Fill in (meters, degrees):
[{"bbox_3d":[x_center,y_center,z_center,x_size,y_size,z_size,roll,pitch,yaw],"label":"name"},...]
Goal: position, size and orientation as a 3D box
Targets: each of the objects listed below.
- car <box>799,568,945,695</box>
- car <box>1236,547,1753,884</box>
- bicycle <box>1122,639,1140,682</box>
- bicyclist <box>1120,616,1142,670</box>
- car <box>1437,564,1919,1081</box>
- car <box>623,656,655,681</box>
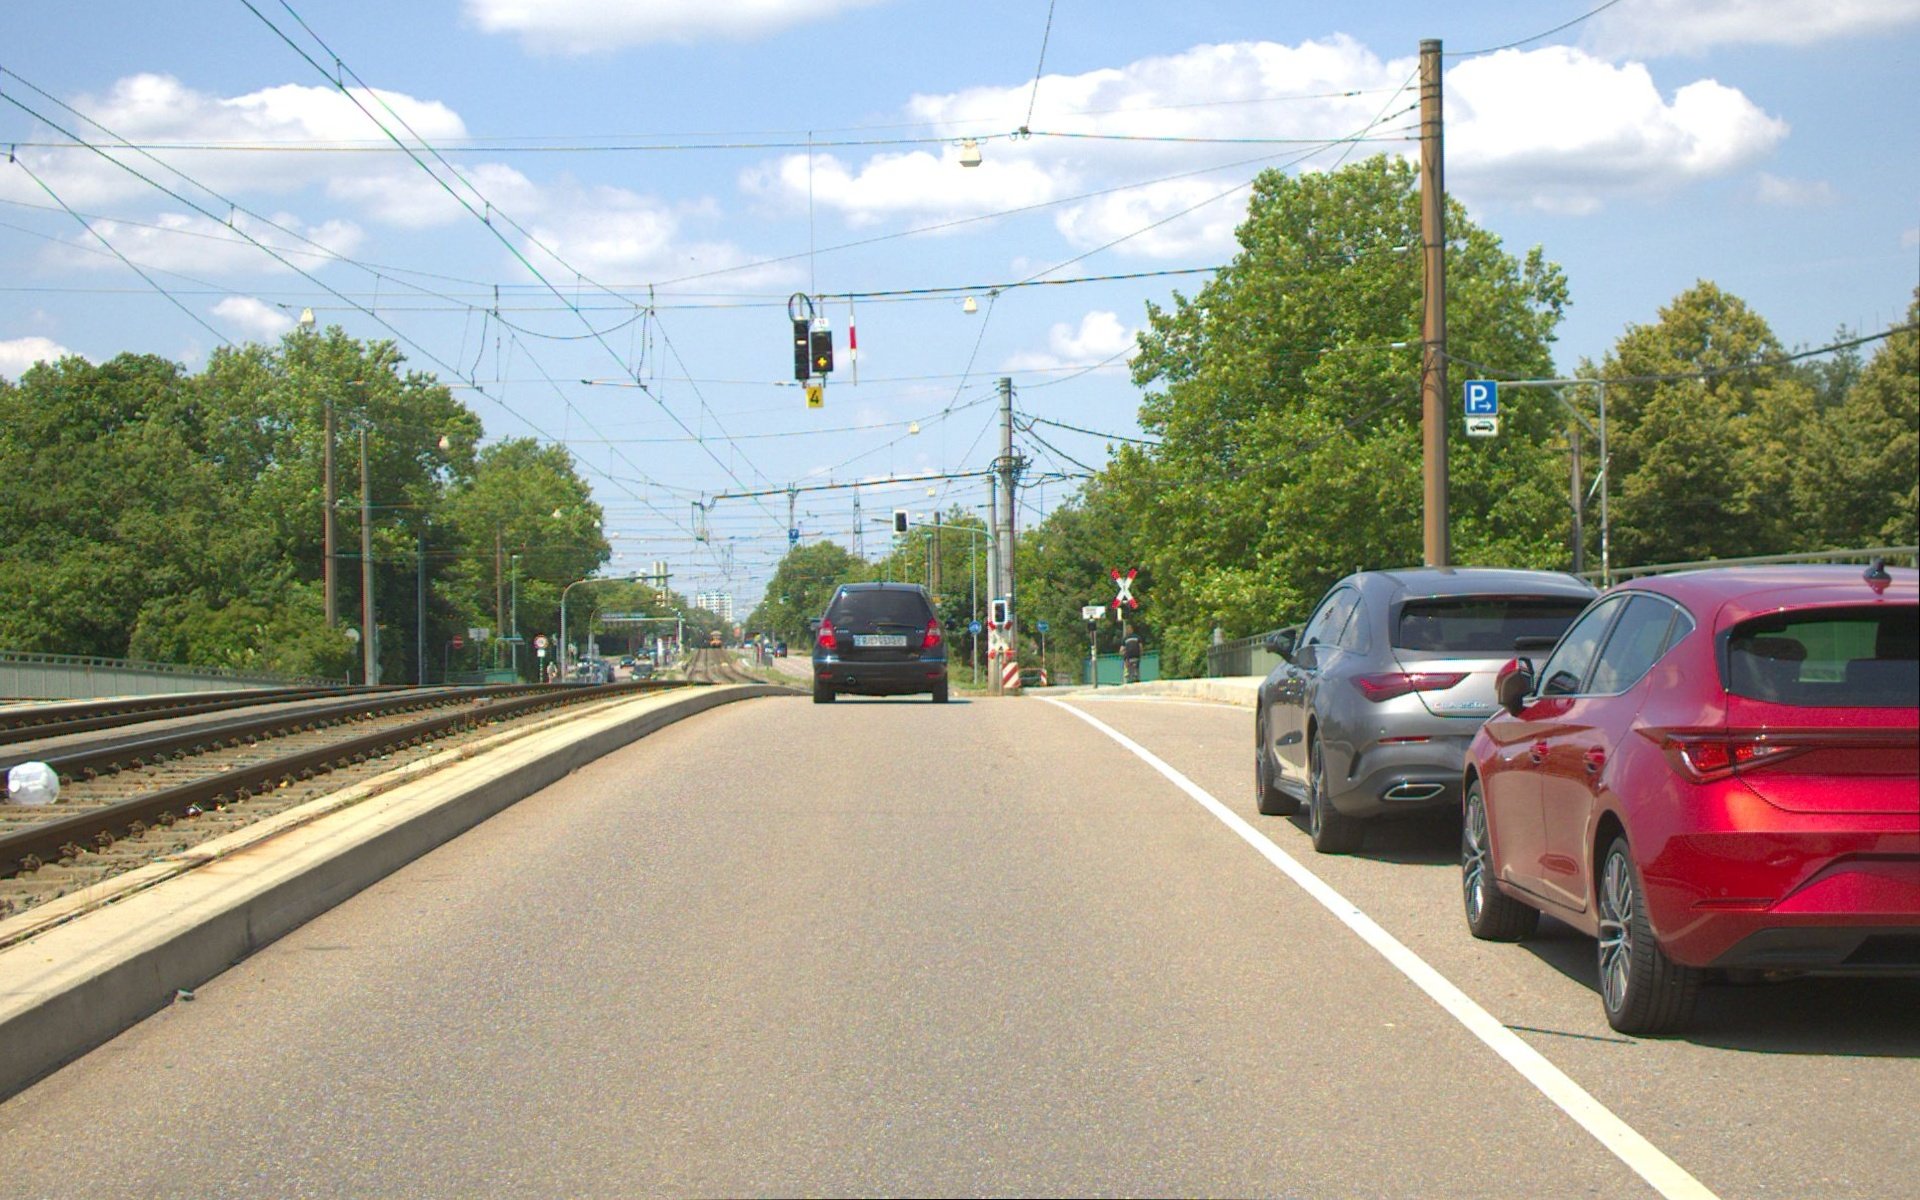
[{"bbox_3d":[-1.149,0.378,45.870,1.853,1.565,4.388,0,1,-1],"label":"car"},{"bbox_3d":[2.704,0.507,18.536,1.993,1.546,4.722,0,1,-1],"label":"car"},{"bbox_3d":[4.739,1.667,95.255,0.432,1.148,1.855,0,0,1],"label":"bicycle"},{"bbox_3d":[4.734,1.186,95.250,0.585,1.490,0.558,0,0,1],"label":"bicyclist"},{"bbox_3d":[2.826,0.624,12.051,1.647,1.455,4.286,0,1,-1],"label":"car"},{"bbox_3d":[-20.889,4.459,224.024,1.705,1.505,3.733,-2,-1,0],"label":"car"}]
